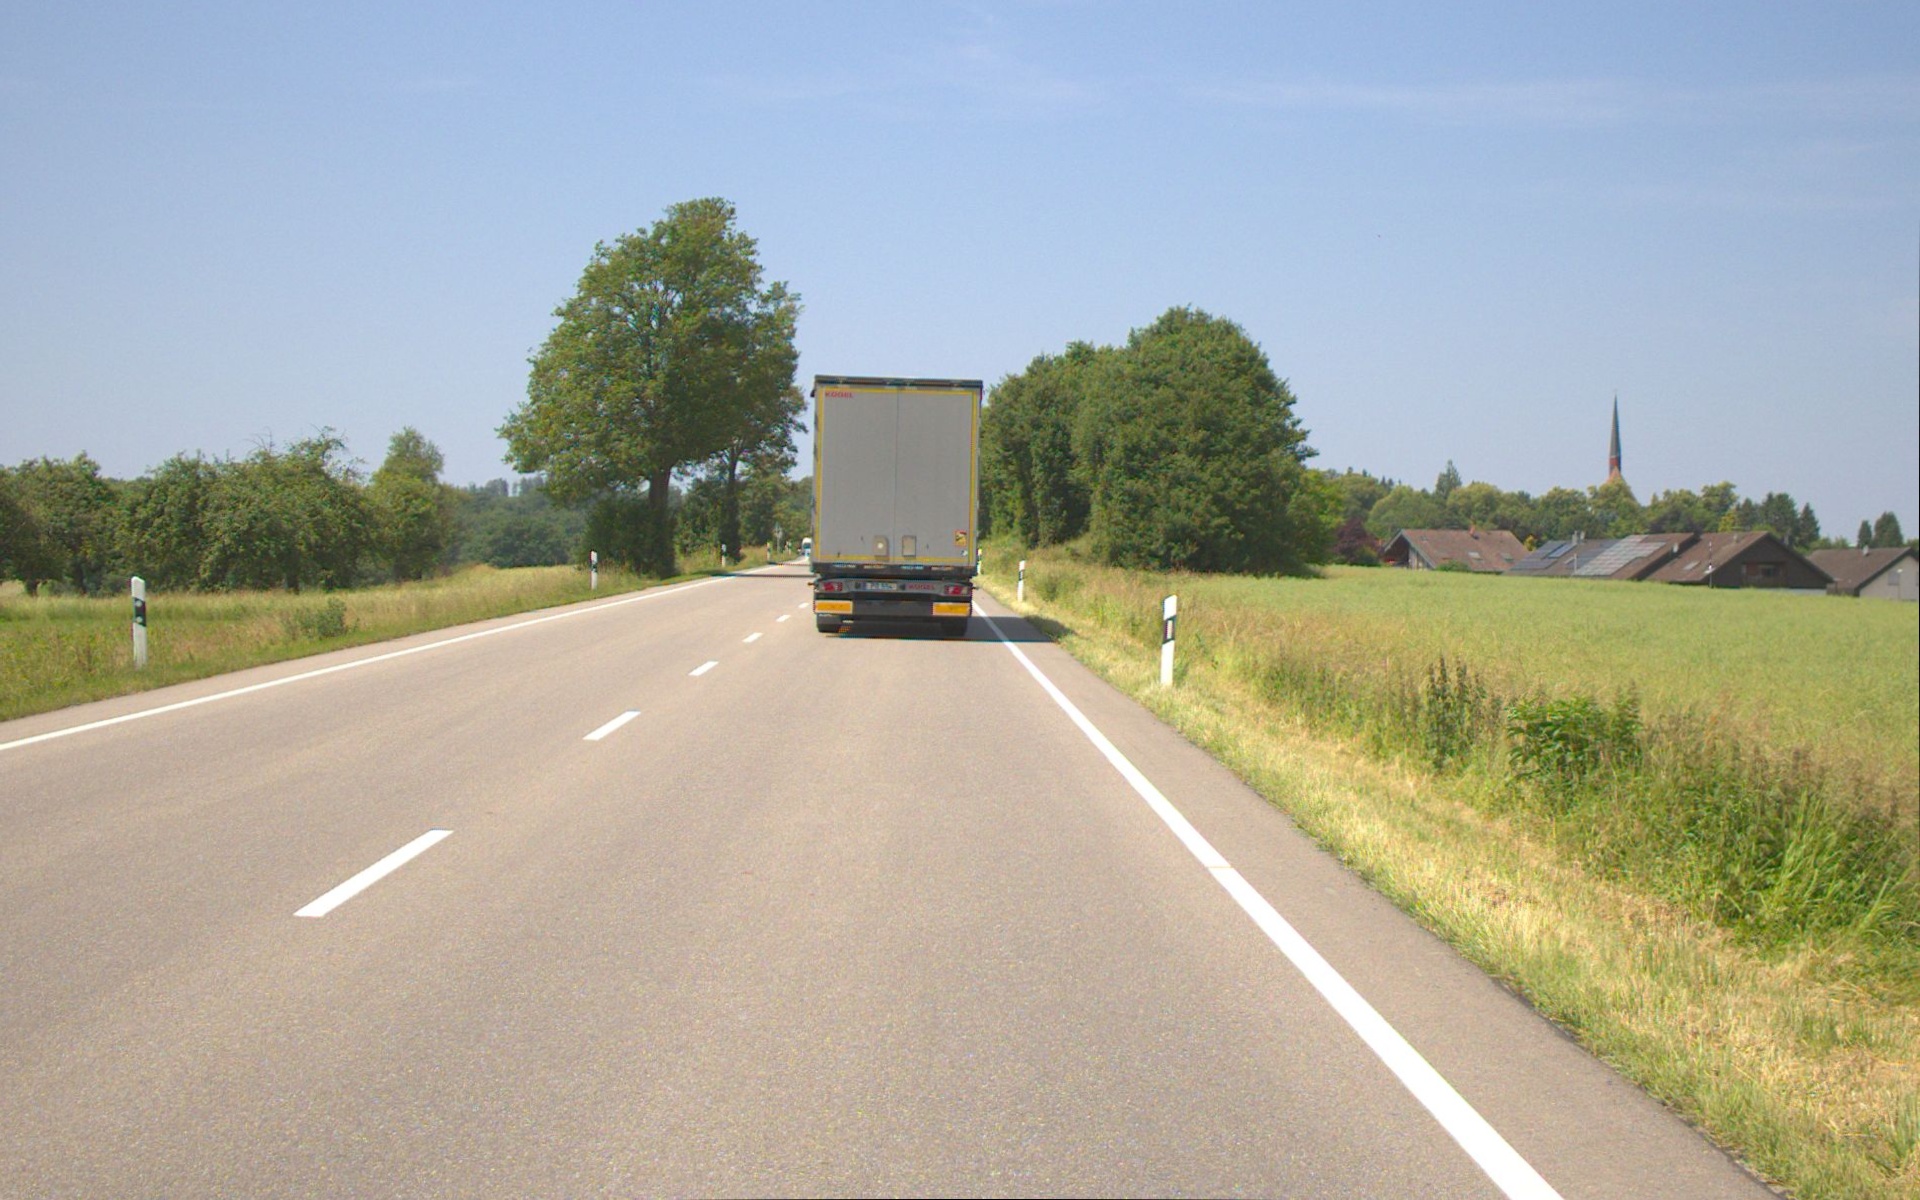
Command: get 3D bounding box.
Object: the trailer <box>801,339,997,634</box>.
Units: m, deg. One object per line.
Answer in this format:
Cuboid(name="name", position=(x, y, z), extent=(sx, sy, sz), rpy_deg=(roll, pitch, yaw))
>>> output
Cuboid(name="trailer", position=(-1.073, -1.835, 58.516), extent=(2.867, 4.385, 13.494), rpy_deg=(1, 1, -1))
